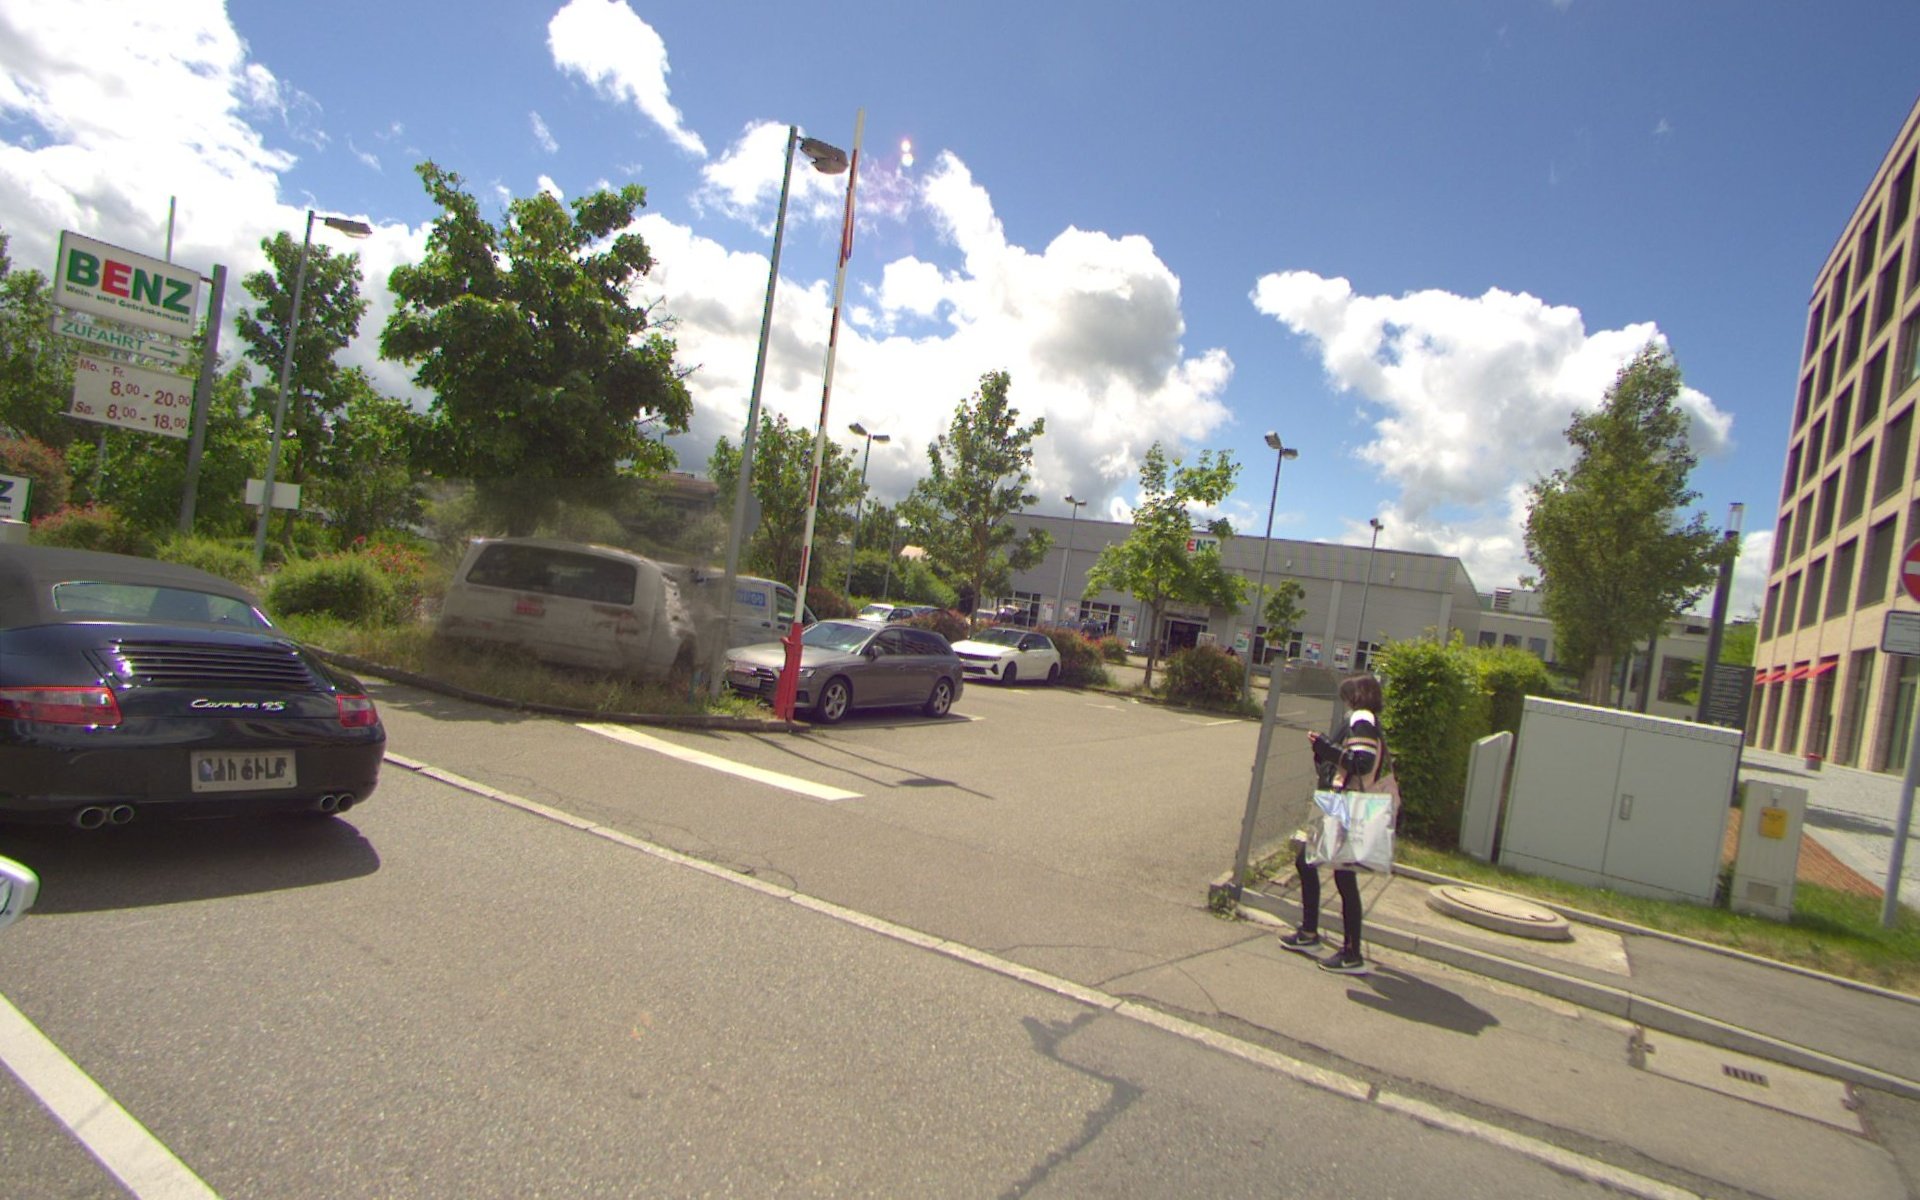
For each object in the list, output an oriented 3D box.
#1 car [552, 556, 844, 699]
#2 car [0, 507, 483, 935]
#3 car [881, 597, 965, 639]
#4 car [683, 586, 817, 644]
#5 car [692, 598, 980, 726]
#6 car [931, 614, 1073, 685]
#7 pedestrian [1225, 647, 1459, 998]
[{"bbox_3d":[-4.147,0.494,16.857,2.051,1.871,4.718,7,0,25],"label":"car"},{"bbox_3d":[-4.779,0.346,5.496,4.139,1.393,1.933,9,0,33],"label":"car"},{"bbox_3d":[-1.698,0.898,47.765,1.890,1.595,4.298,7,0,29],"label":"car"},{"bbox_3d":[-6.431,0.502,31.220,1.856,1.386,3.877,8,0,29],"label":"car"},{"bbox_3d":[-1.724,0.955,15.548,1.967,1.500,4.437,6,0,31],"label":"car"},{"bbox_3d":[1.220,1.355,26.827,1.856,1.509,4.440,8,0,29],"label":"car"},{"bbox_3d":[2.006,1.092,5.266,0.842,1.555,0.688,8,1,32],"label":"pedestrian"}]
